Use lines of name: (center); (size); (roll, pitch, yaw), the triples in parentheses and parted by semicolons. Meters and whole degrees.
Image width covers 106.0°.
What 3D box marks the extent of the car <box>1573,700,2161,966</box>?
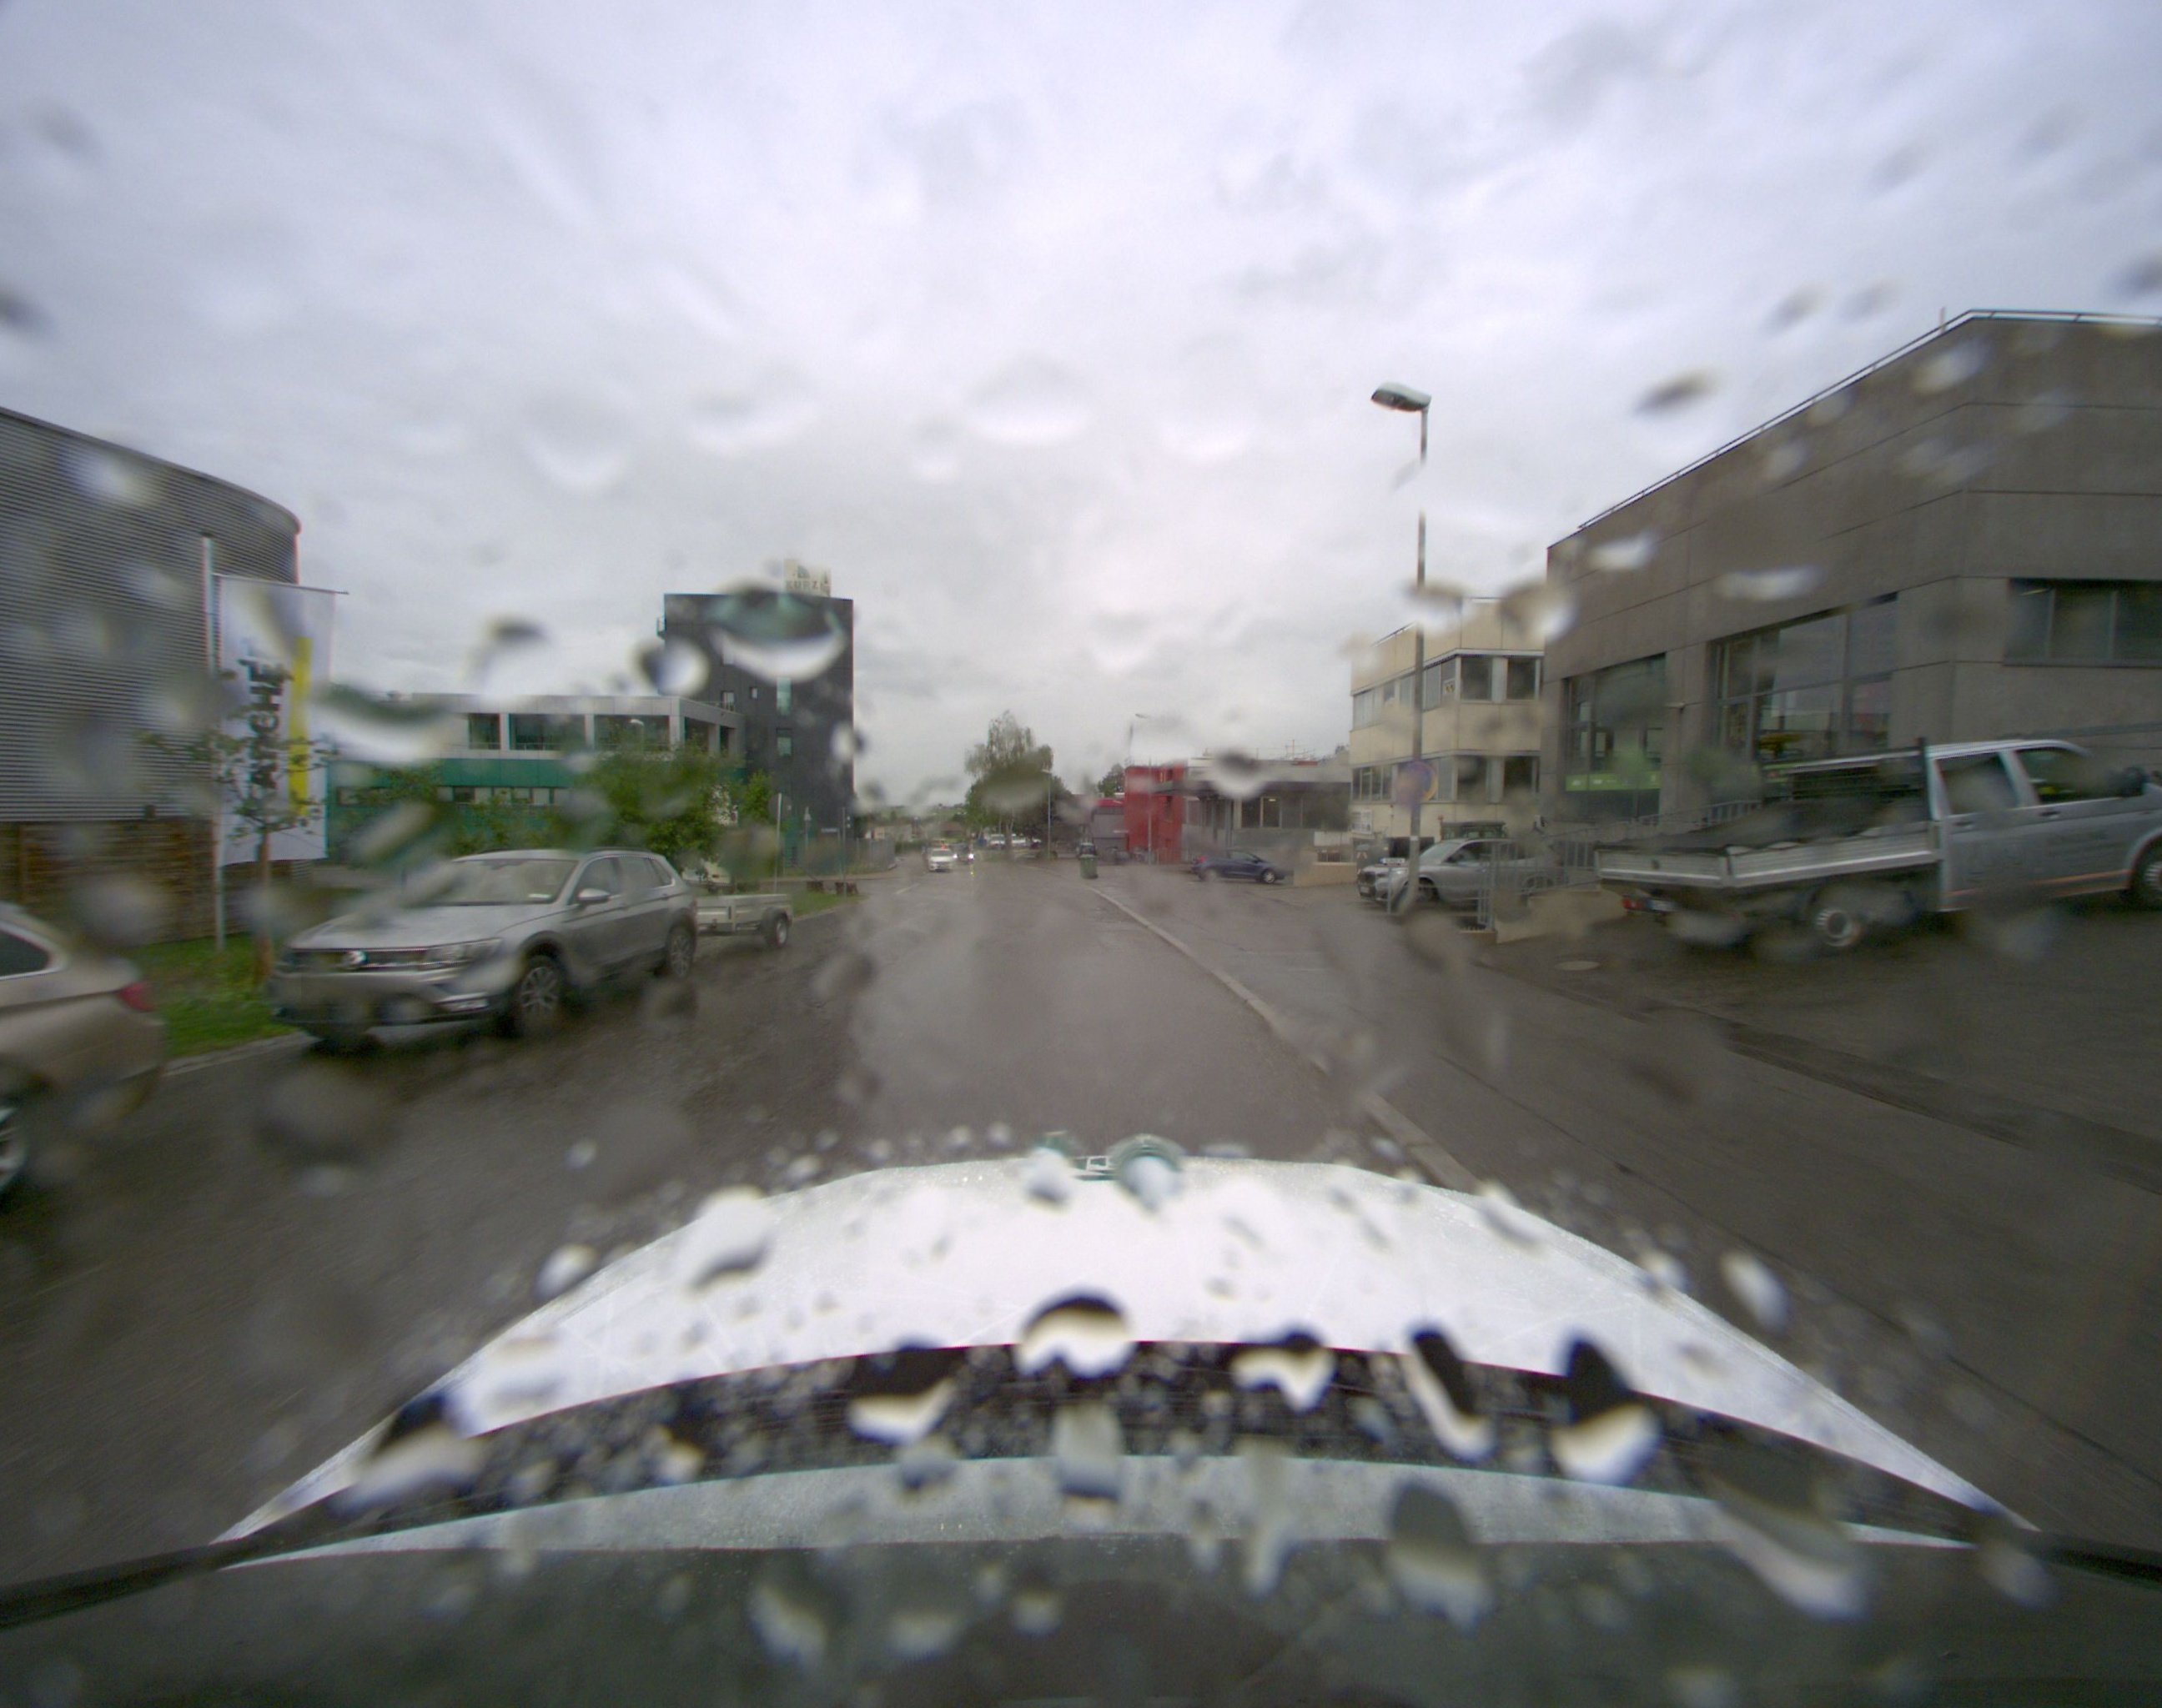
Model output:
car: (8.962, -0.257, 9.225); (5.285, 2.013, 2.220); (-8, 0, -2)

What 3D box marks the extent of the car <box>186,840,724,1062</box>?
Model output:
car: (-5.652, 0.729, 8.413); (1.953, 1.577, 4.835); (-1, -1, -3)

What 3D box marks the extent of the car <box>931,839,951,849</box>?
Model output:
car: (-33.098, -2.448, 192.438); (4.221, 2.226, 2.002); (-1, -1, 4)

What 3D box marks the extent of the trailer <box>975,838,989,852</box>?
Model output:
trailer: (-14.314, -1.242, 117.739); (1.852, 2.013, 3.988); (0, 0, -9)

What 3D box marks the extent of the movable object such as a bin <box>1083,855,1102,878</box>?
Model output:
movable object such as a bin: (0.543, 0.615, 39.339); (0.805, 1.092, 0.708); (-1, 0, -7)

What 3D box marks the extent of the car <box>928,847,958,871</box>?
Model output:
car: (-9.550, 0.355, 56.282); (1.772, 1.513, 4.127); (-1, 0, -13)

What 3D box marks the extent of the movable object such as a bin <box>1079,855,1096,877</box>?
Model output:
movable object such as a bin: (0.321, 0.615, 41.111); (0.808, 1.076, 0.580); (-1, 0, -7)

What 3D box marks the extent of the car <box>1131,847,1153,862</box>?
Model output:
car: (5.955, 0.090, 79.648); (1.724, 1.422, 3.997); (-1, -1, -2)

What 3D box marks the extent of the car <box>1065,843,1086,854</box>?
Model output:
car: (-0.712, -0.733, 101.846); (2.545, 1.352, 1.239); (0, 0, -7)

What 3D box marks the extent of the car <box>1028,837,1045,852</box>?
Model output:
car: (-6.326, -1.285, 115.431); (2.144, 2.014, 3.928); (0, -1, -8)

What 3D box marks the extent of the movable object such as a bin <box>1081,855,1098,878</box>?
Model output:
movable object such as a bin: (0.431, 0.618, 39.982); (0.774, 1.076, 0.582); (-1, 0, -7)

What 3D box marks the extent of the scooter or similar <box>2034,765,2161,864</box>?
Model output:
scooter or similar: (14.059, -0.531, 10.527); (1.060, 1.224, 2.066); (-4, 2, 2)

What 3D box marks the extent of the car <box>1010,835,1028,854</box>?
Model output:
car: (-8.752, -1.320, 114.375); (2.192, 2.459, 3.987); (0, -1, -10)

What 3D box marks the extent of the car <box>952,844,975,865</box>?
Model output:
car: (-10.914, 0.052, 75.807); (1.882, 1.886, 5.062); (0, 0, -6)

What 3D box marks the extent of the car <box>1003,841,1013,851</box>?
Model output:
car: (-10.730, -1.215, 119.897); (1.289, 1.424, 2.539); (0, -1, -8)

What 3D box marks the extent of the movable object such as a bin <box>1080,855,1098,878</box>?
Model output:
movable object such as a bin: (0.383, 0.613, 40.555); (0.808, 1.090, 0.540); (-1, 0, -7)

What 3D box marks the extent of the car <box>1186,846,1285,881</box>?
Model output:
car: (6.651, 0.407, 35.256); (3.885, 1.383, 1.819); (1, -1, -3)

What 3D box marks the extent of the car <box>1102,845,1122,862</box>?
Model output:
car: (3.062, -0.052, 80.469); (1.734, 1.653, 3.997); (-1, -1, -2)

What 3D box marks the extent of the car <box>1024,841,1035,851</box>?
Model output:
car: (-7.611, -1.203, 121.014); (1.397, 1.326, 2.693); (0, -1, -8)

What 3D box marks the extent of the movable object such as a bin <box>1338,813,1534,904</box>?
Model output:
movable object such as a bin: (8.783, 0.098, 20.338); (4.242, 2.110, 1.476); (-1, 0, -1)

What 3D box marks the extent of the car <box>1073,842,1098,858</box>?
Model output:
car: (0.426, -0.418, 87.253); (2.065, 1.552, 3.987); (0, -1, -9)

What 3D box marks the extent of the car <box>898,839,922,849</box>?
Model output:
car: (-31.718, -1.865, 150.846); (3.976, 1.881, 1.999); (0, 0, -2)

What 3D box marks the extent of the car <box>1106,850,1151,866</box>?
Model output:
car: (3.611, 0.314, 62.055); (3.389, 1.163, 1.792); (0, 0, 0)

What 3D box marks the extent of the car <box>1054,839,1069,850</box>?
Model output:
car: (-2.966, -1.426, 121.794); (1.637, 1.453, 3.498); (0, -1, -11)

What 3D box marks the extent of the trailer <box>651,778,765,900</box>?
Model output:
trailer: (-13.765, -0.495, 29.984); (4.132, 4.203, 2.019); (-1, 0, 37)

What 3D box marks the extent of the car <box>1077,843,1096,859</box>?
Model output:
car: (0.512, -0.269, 79.778); (1.692, 1.475, 3.997); (-1, -1, -2)

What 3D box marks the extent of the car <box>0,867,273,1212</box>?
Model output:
car: (-5.588, 0.816, 2.037); (1.950, 1.461, 5.245); (-1, 0, -1)

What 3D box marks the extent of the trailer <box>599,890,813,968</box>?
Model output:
trailer: (-5.626, 1.079, 12.792); (1.676, 0.888, 3.893); (-1, -1, -2)

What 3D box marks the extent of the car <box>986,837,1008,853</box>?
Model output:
car: (-11.741, -1.248, 113.828); (2.270, 2.014, 3.977); (0, -1, -17)

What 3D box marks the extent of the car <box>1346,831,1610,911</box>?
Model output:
car: (8.849, 0.347, 18.438); (5.078, 1.613, 1.923); (-1, 1, -3)

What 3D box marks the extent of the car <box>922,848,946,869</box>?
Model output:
car: (-12.110, 0.362, 66.989); (1.703, 1.609, 3.981); (-2, 1, -14)

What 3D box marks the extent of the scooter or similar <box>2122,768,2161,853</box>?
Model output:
scooter or similar: (15.273, -0.626, 10.615); (1.000, 1.155, 1.846); (-4, 0, 2)
